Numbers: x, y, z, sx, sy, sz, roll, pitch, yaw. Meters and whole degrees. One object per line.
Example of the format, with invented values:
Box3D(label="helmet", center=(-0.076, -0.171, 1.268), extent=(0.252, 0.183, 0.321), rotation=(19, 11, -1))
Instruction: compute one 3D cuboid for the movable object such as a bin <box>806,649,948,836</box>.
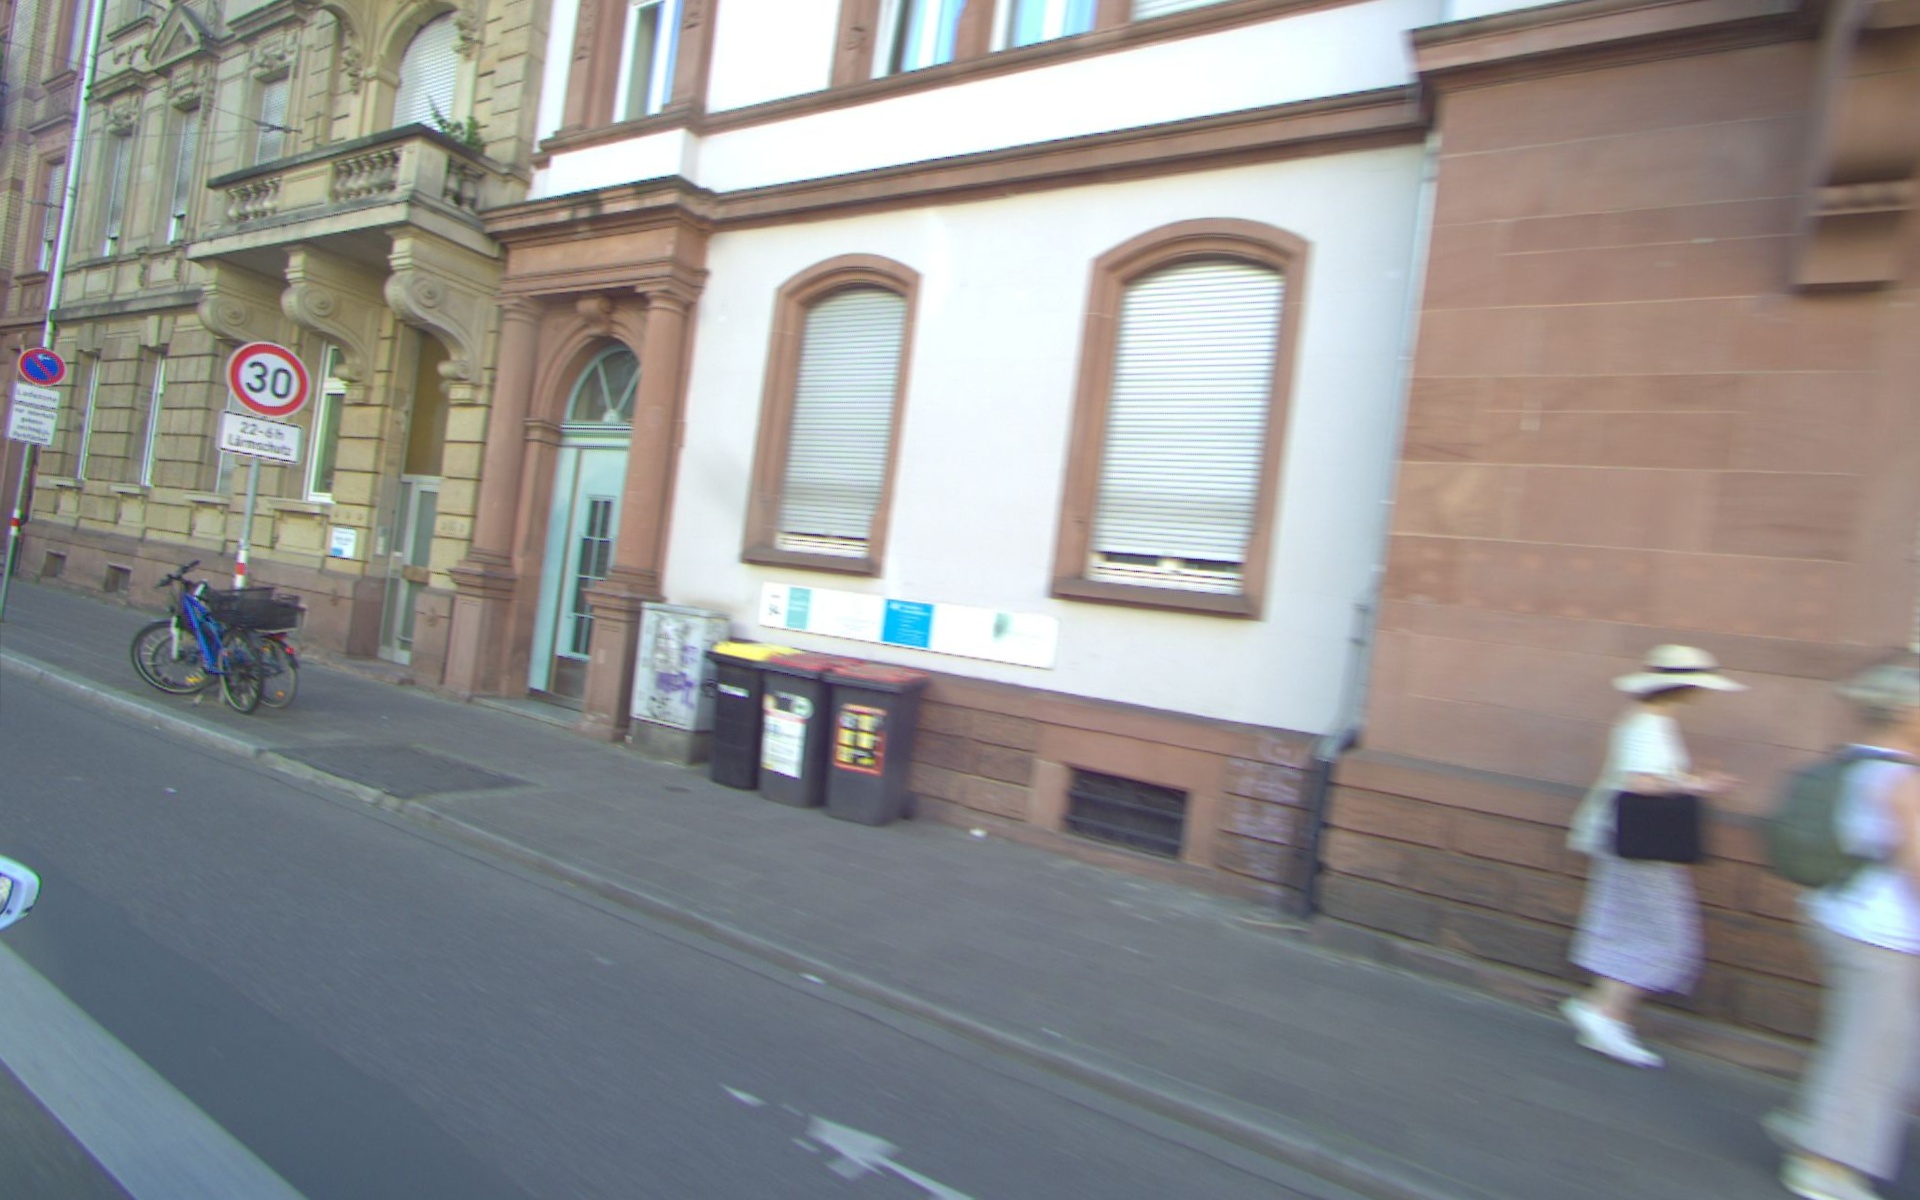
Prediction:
Box3D(label="movable object such as a bin", center=(-0.574, 0.976, 7.055), extent=(0.584, 1.167, 0.667), rotation=(7, -1, 31))

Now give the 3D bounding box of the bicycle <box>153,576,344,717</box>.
Box3D(label="bicycle", center=(-6.071, 0.377, 8.559), extent=(1.732, 0.958, 0.432), rotation=(7, 0, 25))

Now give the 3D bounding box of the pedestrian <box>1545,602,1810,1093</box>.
Box3D(label="pedestrian", center=(2.996, 0.972, 4.290), extent=(0.661, 1.803, 0.706), rotation=(7, 0, 30))

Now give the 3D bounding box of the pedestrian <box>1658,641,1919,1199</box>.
Box3D(label="pedestrian", center=(2.846, 1.043, 3.258), extent=(0.670, 1.721, 0.628), rotation=(7, 0, 23))

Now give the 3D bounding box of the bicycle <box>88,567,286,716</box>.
Box3D(label="bicycle", center=(-6.272, 0.316, 8.138), extent=(1.732, 0.958, 0.432), rotation=(7, 0, 25))

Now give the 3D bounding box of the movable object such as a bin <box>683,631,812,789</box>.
Box3D(label="movable object such as a bin", center=(-1.626, 0.826, 7.737), extent=(0.561, 1.090, 0.667), rotation=(7, 1, 31))

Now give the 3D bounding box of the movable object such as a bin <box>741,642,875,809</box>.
Box3D(label="movable object such as a bin", center=(-1.104, 0.899, 7.371), extent=(0.561, 1.090, 0.667), rotation=(7, 0, 31))
